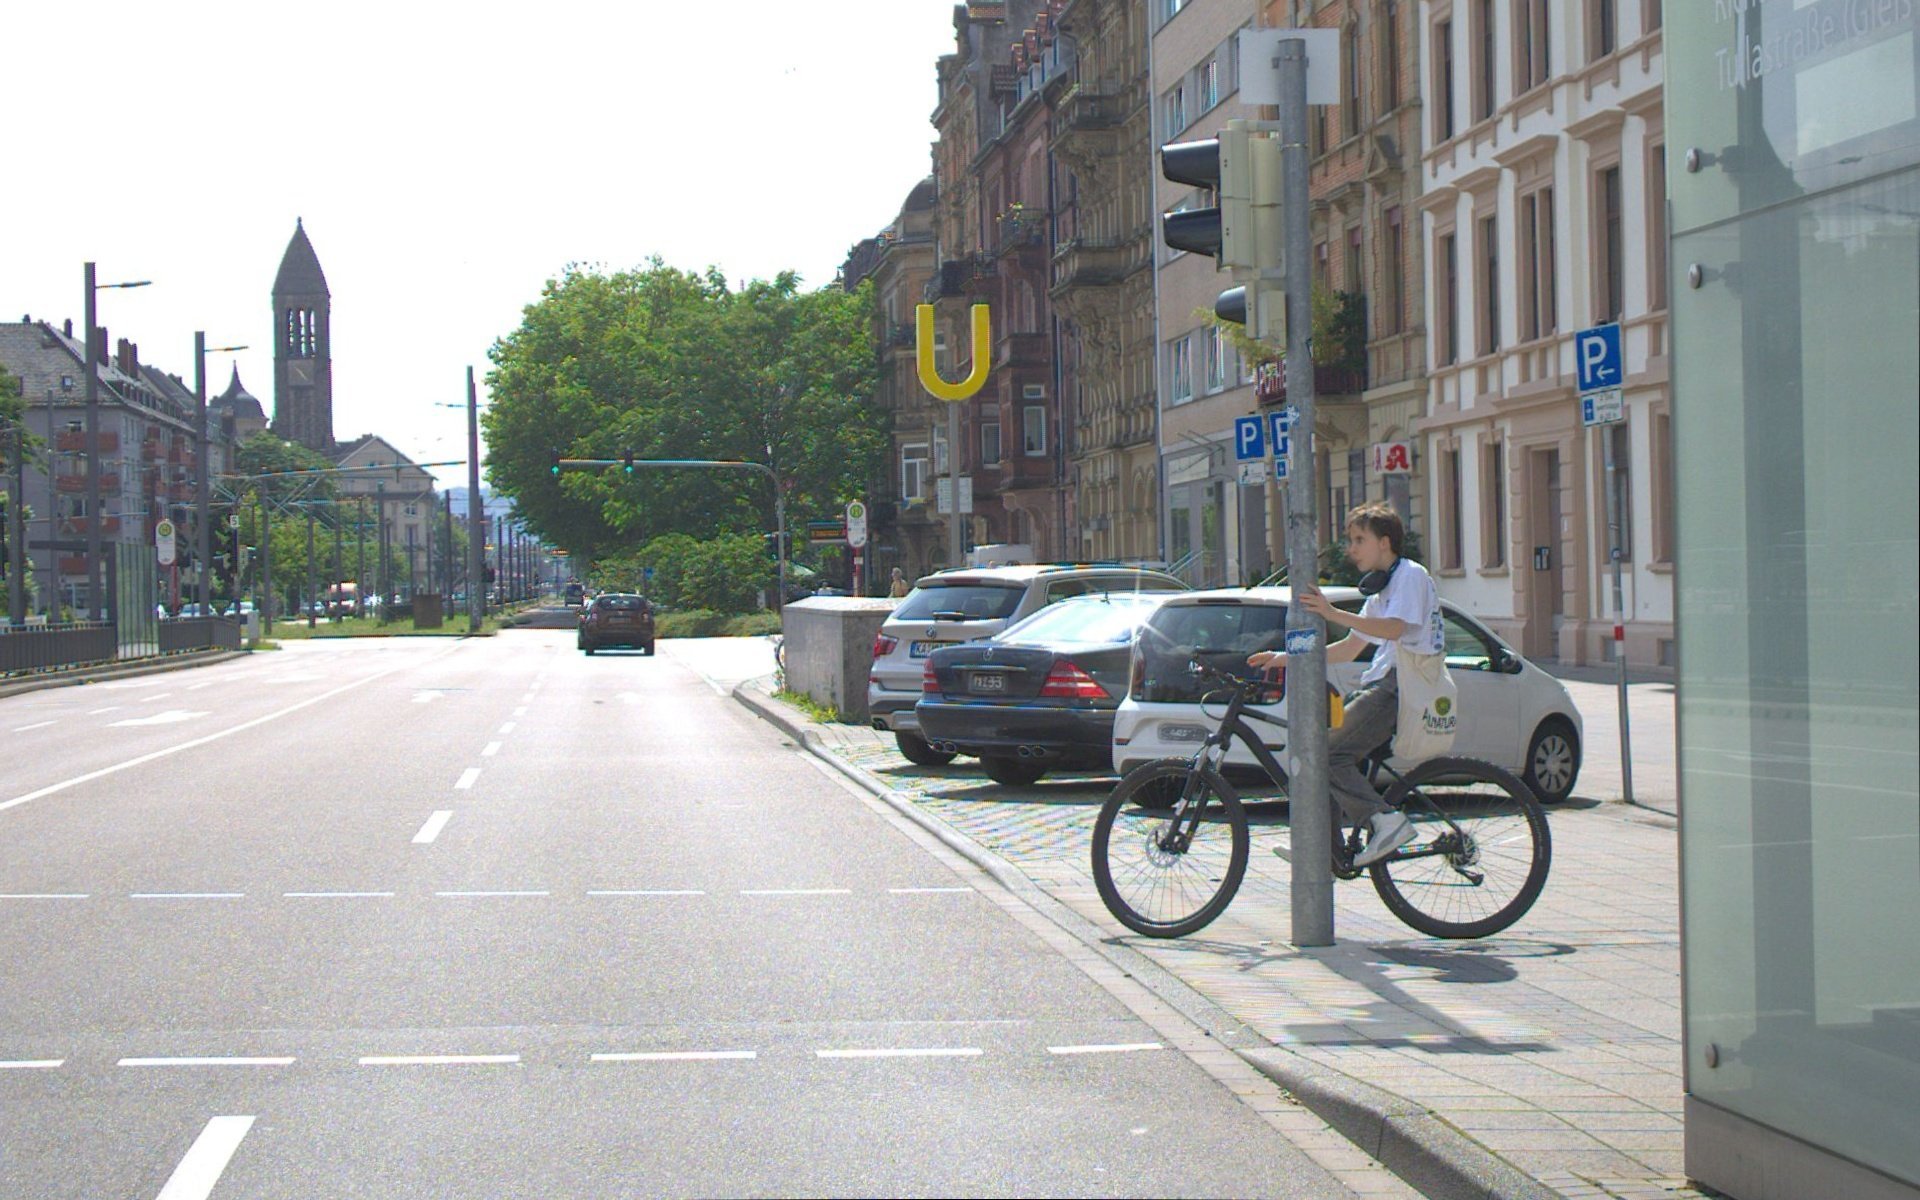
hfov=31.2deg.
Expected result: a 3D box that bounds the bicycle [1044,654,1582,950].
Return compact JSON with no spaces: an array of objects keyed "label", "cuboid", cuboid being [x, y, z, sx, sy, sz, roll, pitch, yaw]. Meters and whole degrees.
[{"label":"bicycle","cuboid":[1.427,0.796,13.979,2.095,1.102,0.544,0,2,21]}]

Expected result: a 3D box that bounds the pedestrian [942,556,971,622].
[{"label":"pedestrian","cuboid":[-0.101,-0.305,97.279,0.662,1.830,0.695,-2,0,-12]}]

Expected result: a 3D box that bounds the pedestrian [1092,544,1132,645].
[{"label":"pedestrian","cuboid":[3.186,-0.120,72.017,0.721,2.092,0.786,-1,2,-5]}]

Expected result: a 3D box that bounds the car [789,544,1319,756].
[{"label":"car","cuboid":[0.886,0.377,29.548,2.060,1.641,4.585,-1,1,42]}]

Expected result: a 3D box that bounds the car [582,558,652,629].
[{"label":"car","cuboid":[-9.070,-0.203,90.803,1.688,1.705,3.610,-1,2,-8]}]

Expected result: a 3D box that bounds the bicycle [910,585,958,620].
[{"label":"bicycle","cuboid":[-0.954,0.092,126.581,1.745,1.263,0.467,-1,2,-2]}]

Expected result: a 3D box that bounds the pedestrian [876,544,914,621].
[{"label":"pedestrian","cuboid":[-1.623,-0.432,85.407,0.662,1.896,0.695,-2,0,-24]}]

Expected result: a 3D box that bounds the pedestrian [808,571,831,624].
[{"label":"pedestrian","cuboid":[-5.361,-0.091,130.964,0.767,2.007,0.715,-2,0,-5]}]

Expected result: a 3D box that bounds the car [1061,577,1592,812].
[{"label":"car","cuboid":[2.511,0.588,23.090,1.777,1.448,3.487,-1,-1,44]}]

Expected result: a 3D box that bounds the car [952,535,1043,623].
[{"label":"car","cuboid":[1.084,-0.631,102.629,1.993,2.517,5.889,-1,0,-6]}]

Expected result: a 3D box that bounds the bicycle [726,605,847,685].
[{"label":"bicycle","cuboid":[-2.860,0.736,56.565,1.923,1.233,0.441,-2,2,-19]}]

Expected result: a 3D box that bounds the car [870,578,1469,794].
[{"label":"car","cuboid":[1.652,0.574,25.732,1.938,1.455,4.588,0,0,45]}]

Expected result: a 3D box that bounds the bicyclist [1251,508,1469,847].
[{"label":"bicyclist","cuboid":[1.616,0.300,13.867,0.782,1.331,0.394,0,2,23]}]

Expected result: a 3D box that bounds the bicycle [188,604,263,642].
[{"label":"bicycle","cuboid":[-22.273,0.698,104.317,2.018,1.122,0.931,-1,0,5]}]

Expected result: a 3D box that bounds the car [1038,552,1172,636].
[{"label":"car","cuboid":[3.349,-0.121,80.328,1.993,1.856,4.754,-1,0,-11]}]

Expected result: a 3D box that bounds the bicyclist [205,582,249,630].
[{"label":"bicyclist","cuboid":[-22.253,0.183,104.370,1.089,1.431,0.824,-1,0,4]}]
